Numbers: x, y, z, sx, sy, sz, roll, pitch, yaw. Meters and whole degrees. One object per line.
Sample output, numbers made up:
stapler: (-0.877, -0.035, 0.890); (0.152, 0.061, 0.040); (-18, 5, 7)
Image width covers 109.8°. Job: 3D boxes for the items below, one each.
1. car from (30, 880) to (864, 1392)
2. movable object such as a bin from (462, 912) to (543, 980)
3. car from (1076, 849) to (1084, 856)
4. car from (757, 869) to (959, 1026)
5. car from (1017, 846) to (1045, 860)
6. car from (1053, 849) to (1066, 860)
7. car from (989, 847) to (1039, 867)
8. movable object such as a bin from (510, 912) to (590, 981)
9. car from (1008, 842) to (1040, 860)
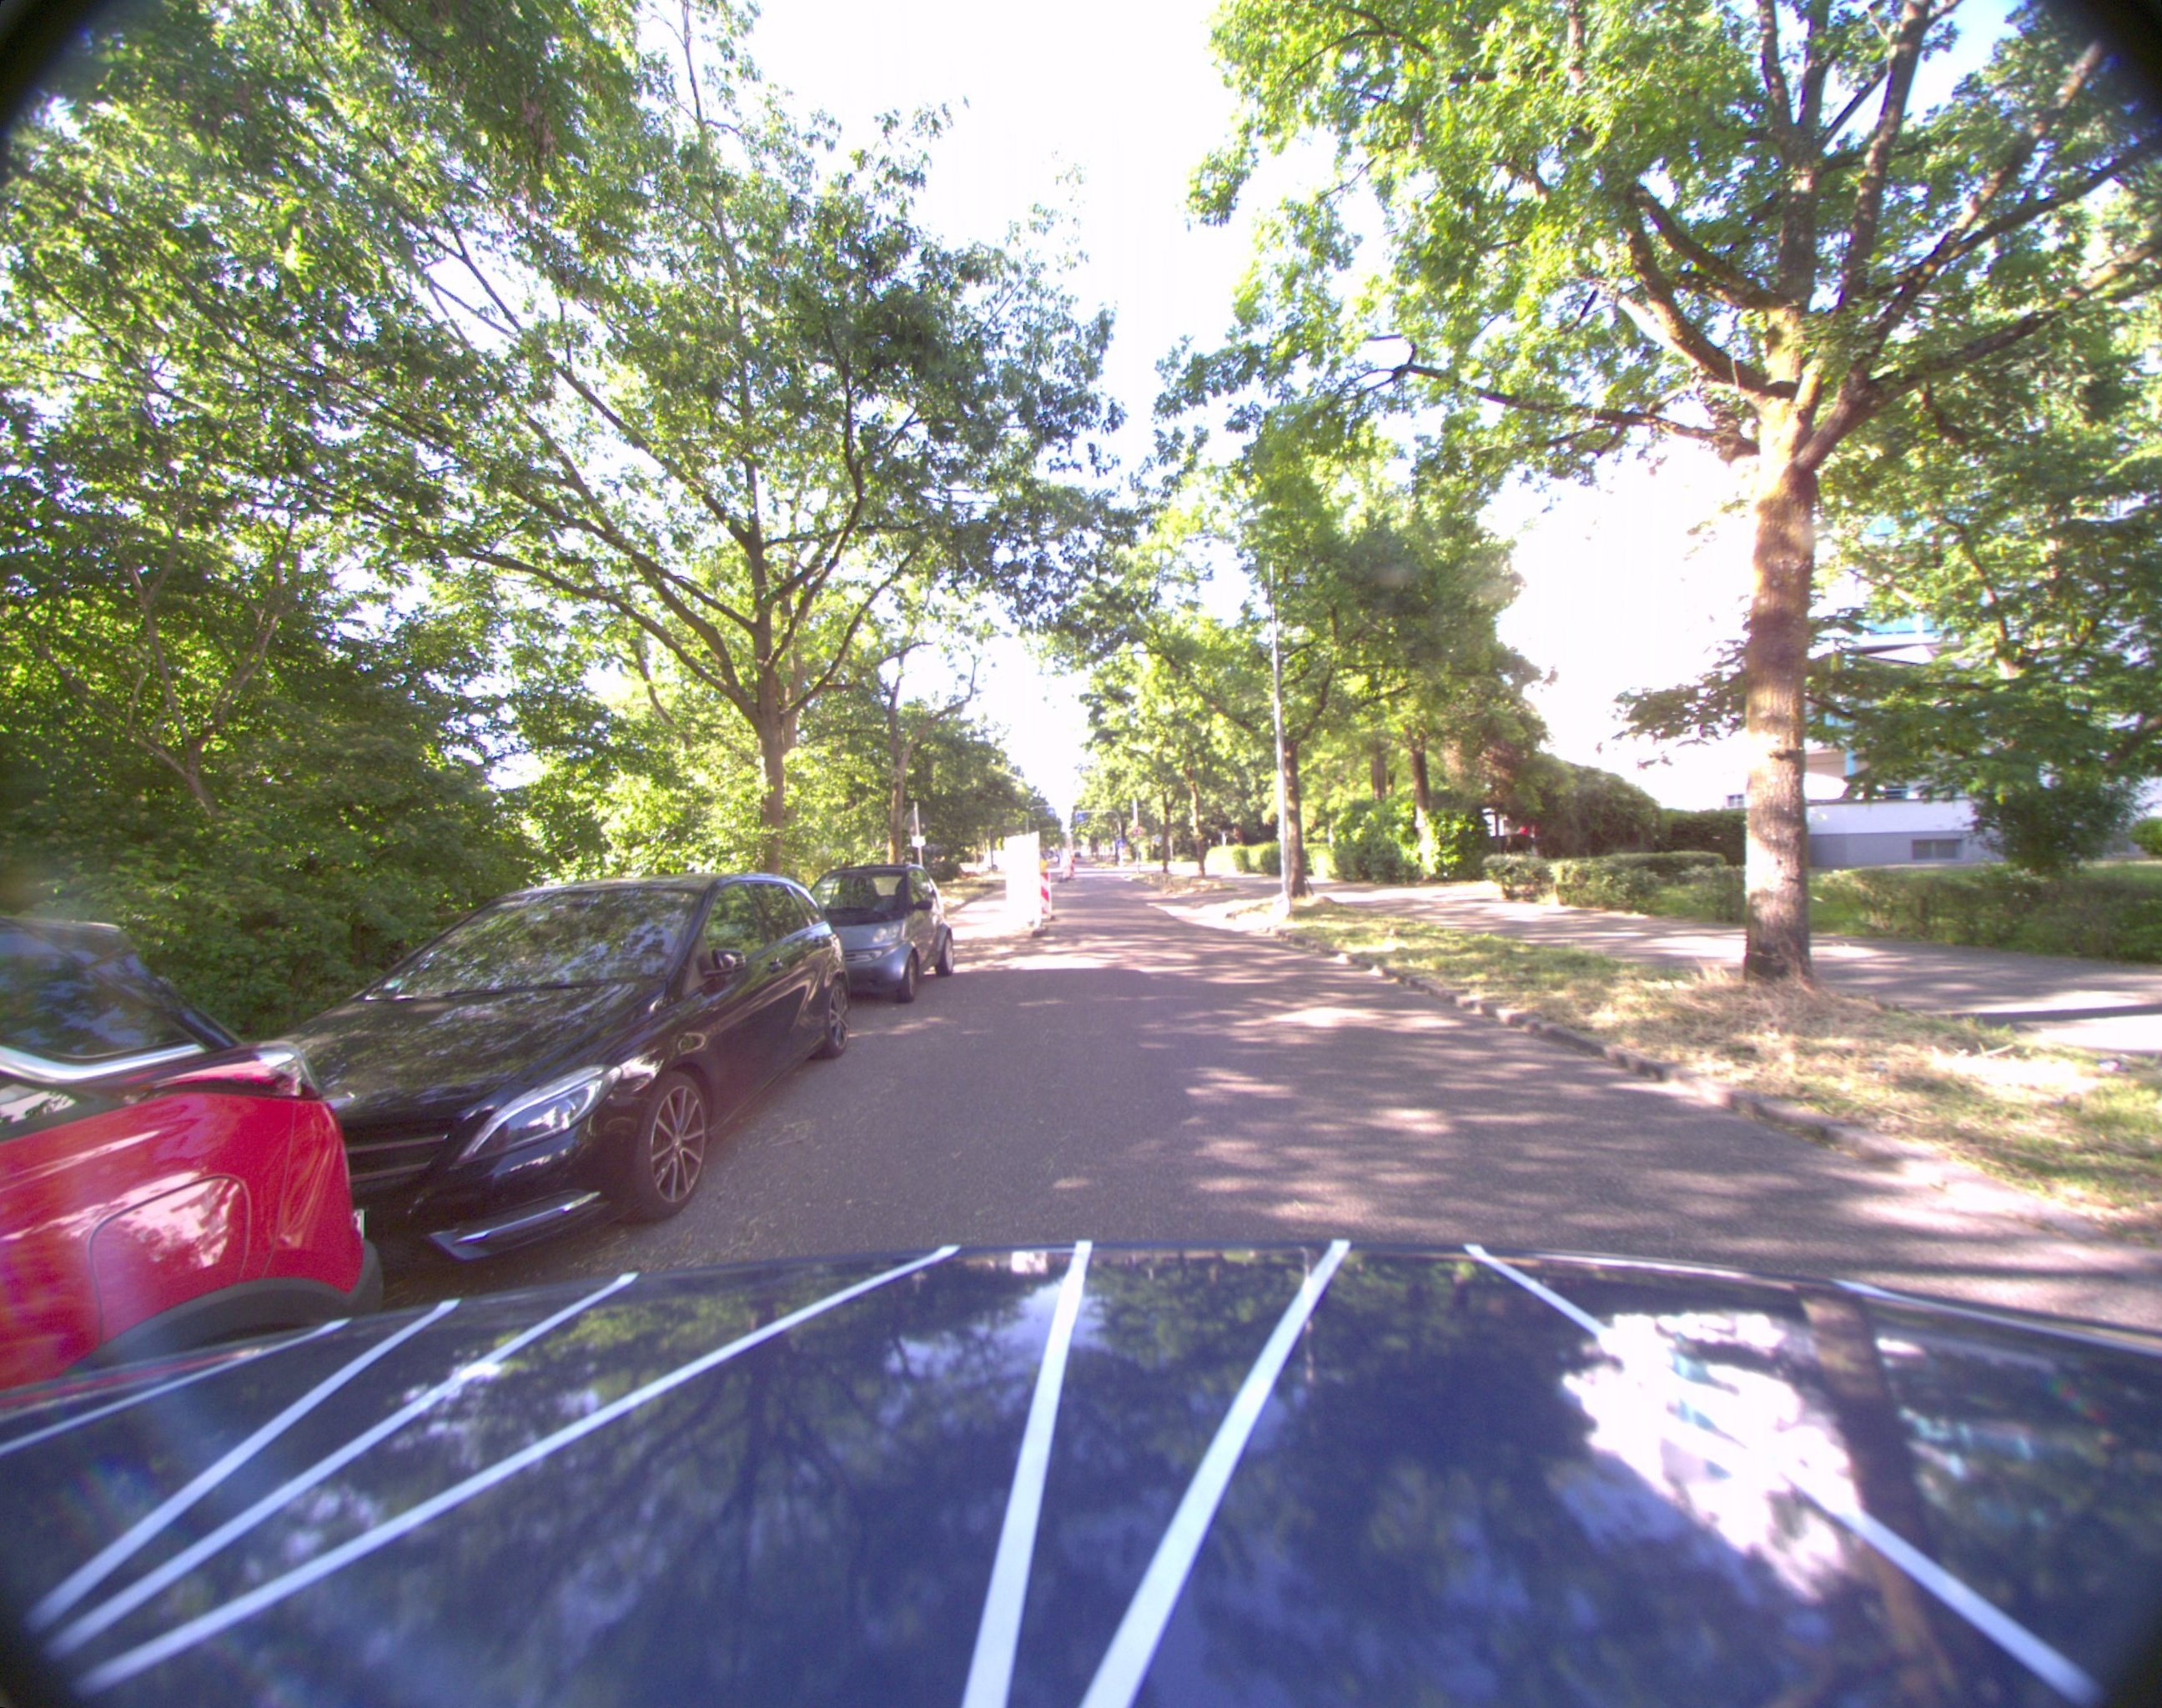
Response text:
car: (-2.736, 1.028, 4.681); (1.716, 1.500, 4.148); (-3, 0, -3)
movable object such as a bin: (-8.212, 1.302, 10.806); (0.727, 0.877, 0.462); (0, 7, 6)
car: (-0.252, -0.375, 195.923); (1.998, 1.805, 4.000); (-2, 0, 2)
car: (-2.536, 1.004, 9.236); (1.497, 1.500, 2.677); (-3, 0, 2)
car: (-7.568, -0.140, 115.082); (4.245, 1.993, 1.565); (-1, 0, -4)
car: (-3.613, 0.101, 128.081); (1.998, 1.871, 3.999); (0, 1, 1)
car: (-7.277, 0.306, 82.403); (5.269, 1.993, 2.000); (-1, 0, -2)
movable object such as a bin: (-7.478, 1.301, 10.726); (0.727, 0.877, 0.462); (0, 7, 6)
car: (-8.233, -0.462, 109.812); (4.412, 2.531, 1.888); (-1, 0, -4)
